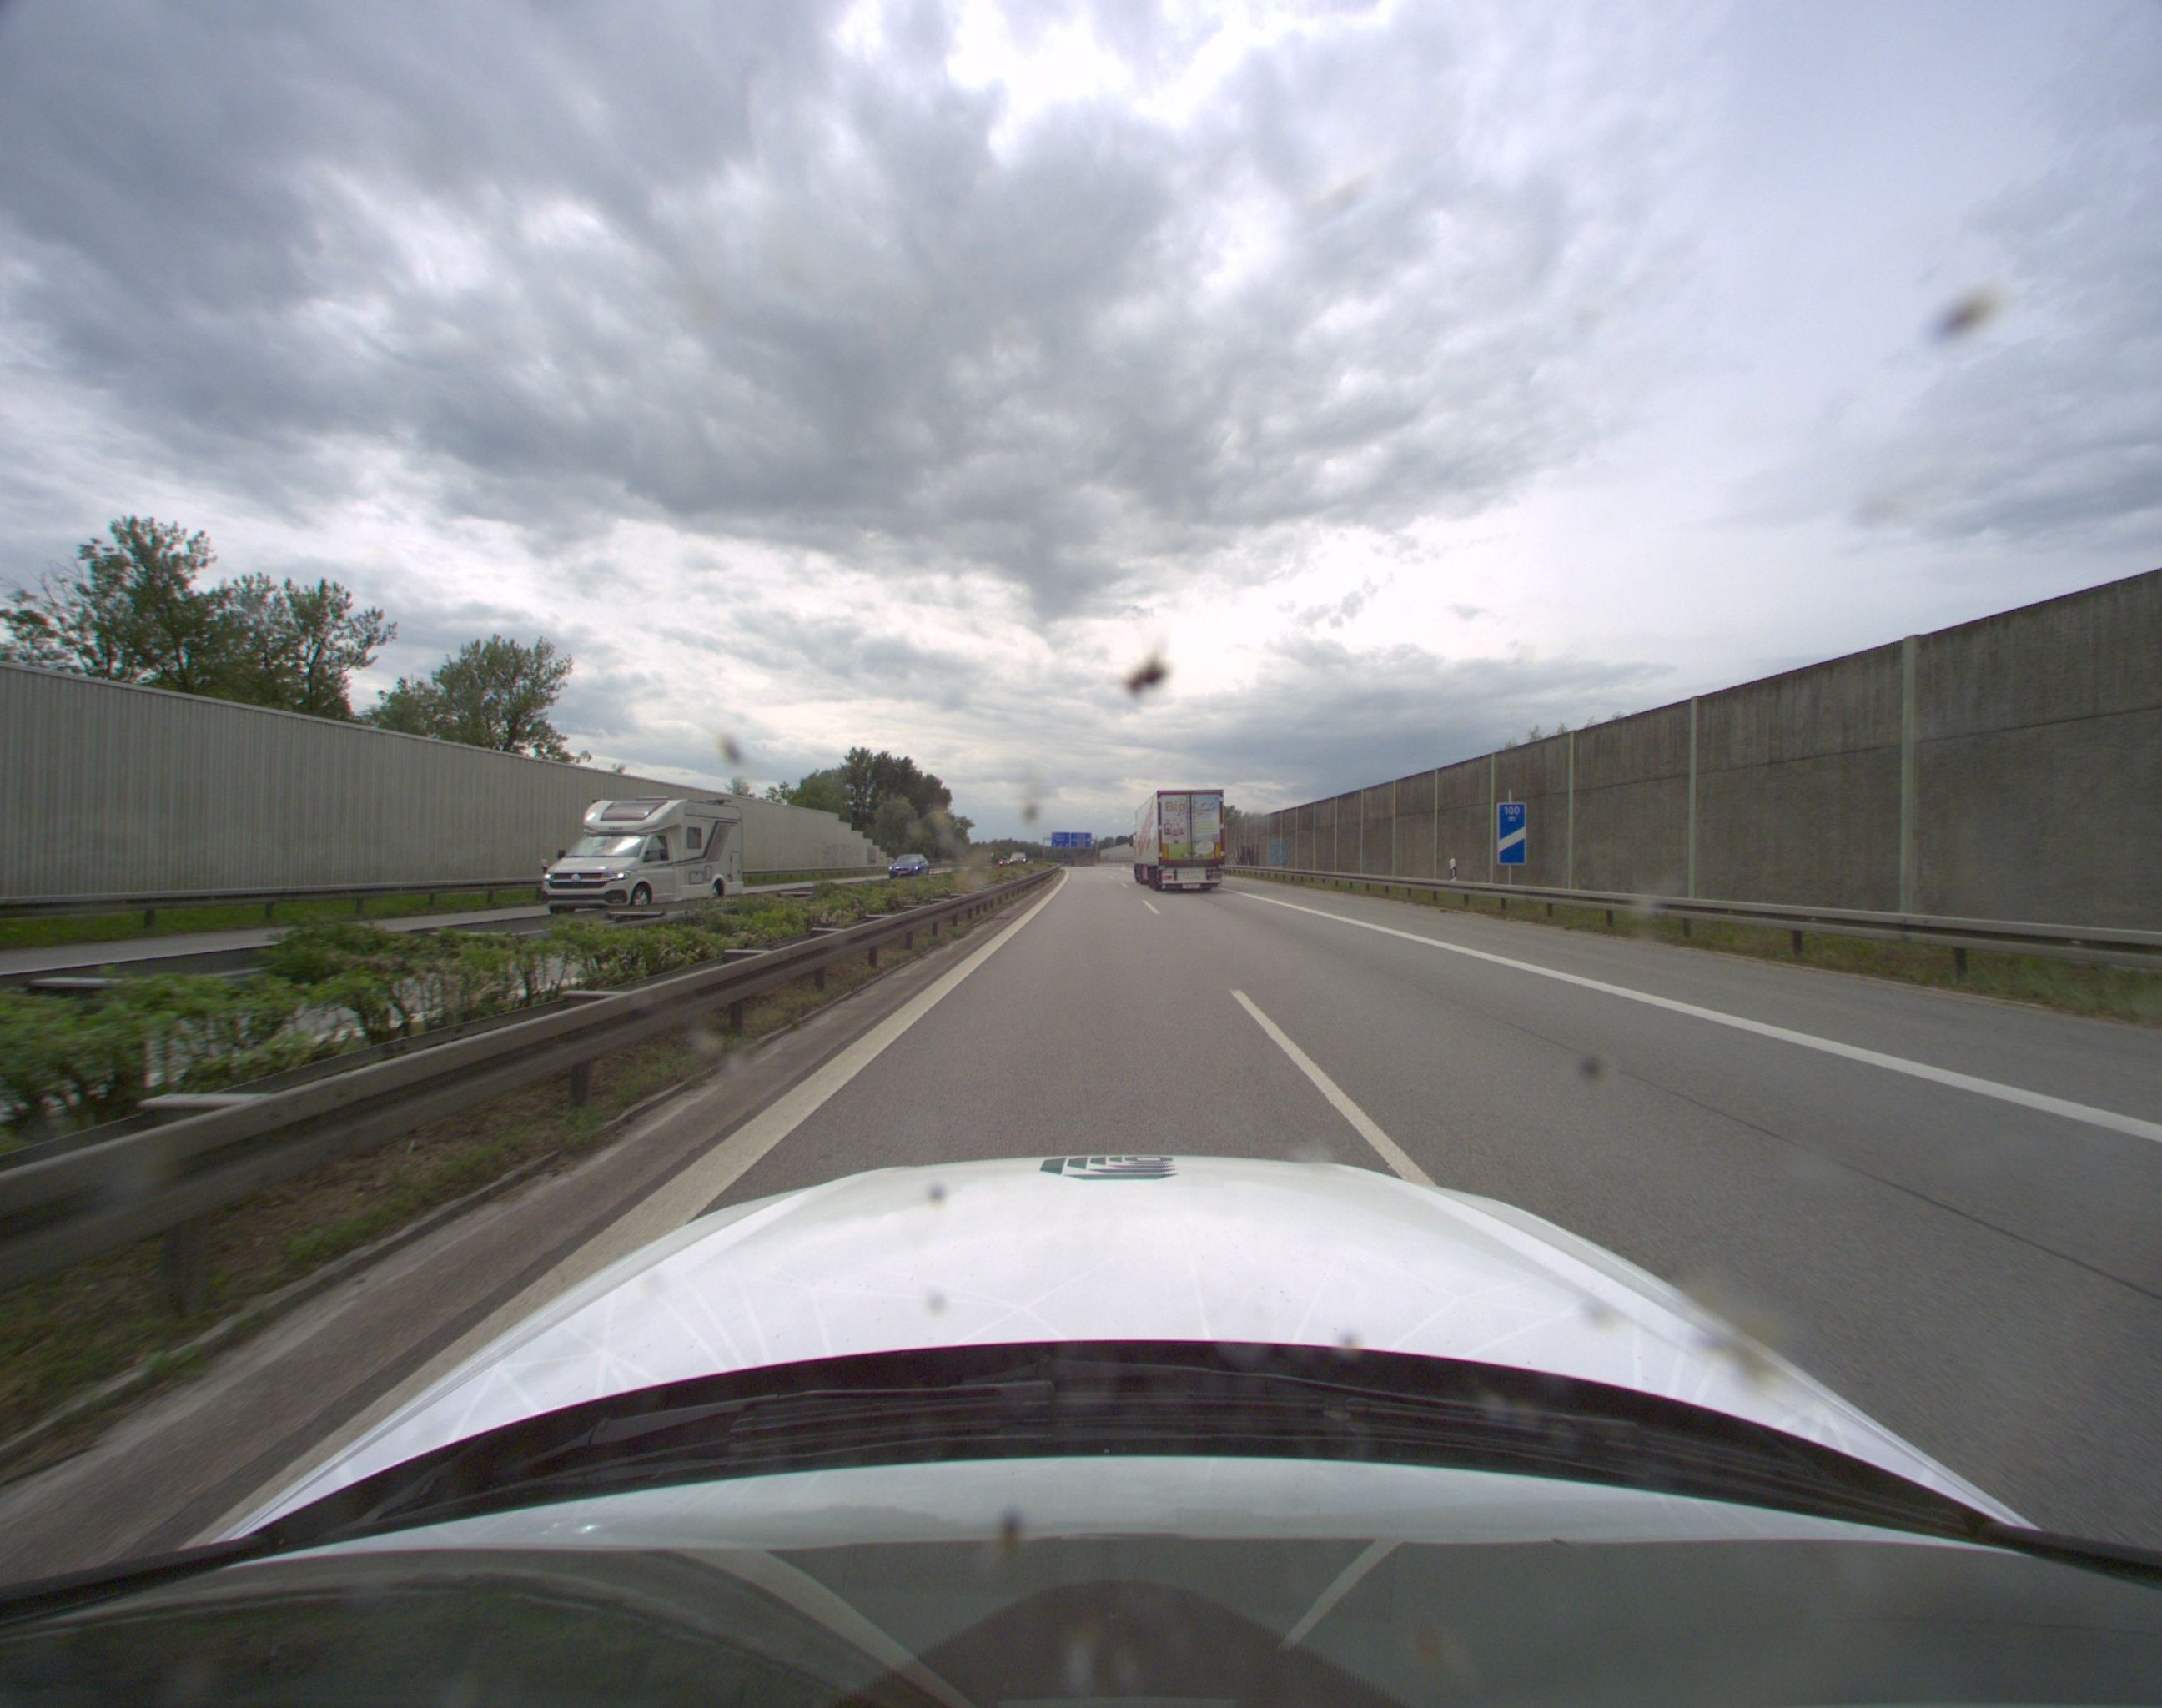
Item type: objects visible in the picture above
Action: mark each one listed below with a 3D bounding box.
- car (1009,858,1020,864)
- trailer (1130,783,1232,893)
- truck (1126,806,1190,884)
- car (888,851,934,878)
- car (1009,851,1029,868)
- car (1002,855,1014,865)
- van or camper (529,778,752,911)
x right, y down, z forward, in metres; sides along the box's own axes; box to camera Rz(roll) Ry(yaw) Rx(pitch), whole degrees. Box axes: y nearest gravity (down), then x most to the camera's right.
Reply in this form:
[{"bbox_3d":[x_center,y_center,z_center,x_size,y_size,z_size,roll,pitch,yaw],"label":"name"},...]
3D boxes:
[{"bbox_3d":[-14.735,1.529,180.509,1.965,1.403,4.706,-1,0,-2],"label":"car"},{"bbox_3d":[4.257,-0.585,38.205,2.784,4.175,14.097,-1,0,-1],"label":"trailer"},{"bbox_3d":[4.122,-0.457,44.669,2.749,3.959,5.672,-1,0,-2],"label":"truck"},{"bbox_3d":[-10.157,0.611,49.026,1.806,1.547,4.516,-1,0,0],"label":"car"},{"bbox_3d":[-7.223,0.639,95.798,1.987,1.886,4.554,-1,0,-1],"label":"car"},{"bbox_3d":[-13.392,1.157,149.827,1.965,1.761,4.941,0,0,-2],"label":"car"},{"bbox_3d":[-10.461,-0.205,20.068,2.246,2.779,5.756,-1,0,1],"label":"van or camper"}]
